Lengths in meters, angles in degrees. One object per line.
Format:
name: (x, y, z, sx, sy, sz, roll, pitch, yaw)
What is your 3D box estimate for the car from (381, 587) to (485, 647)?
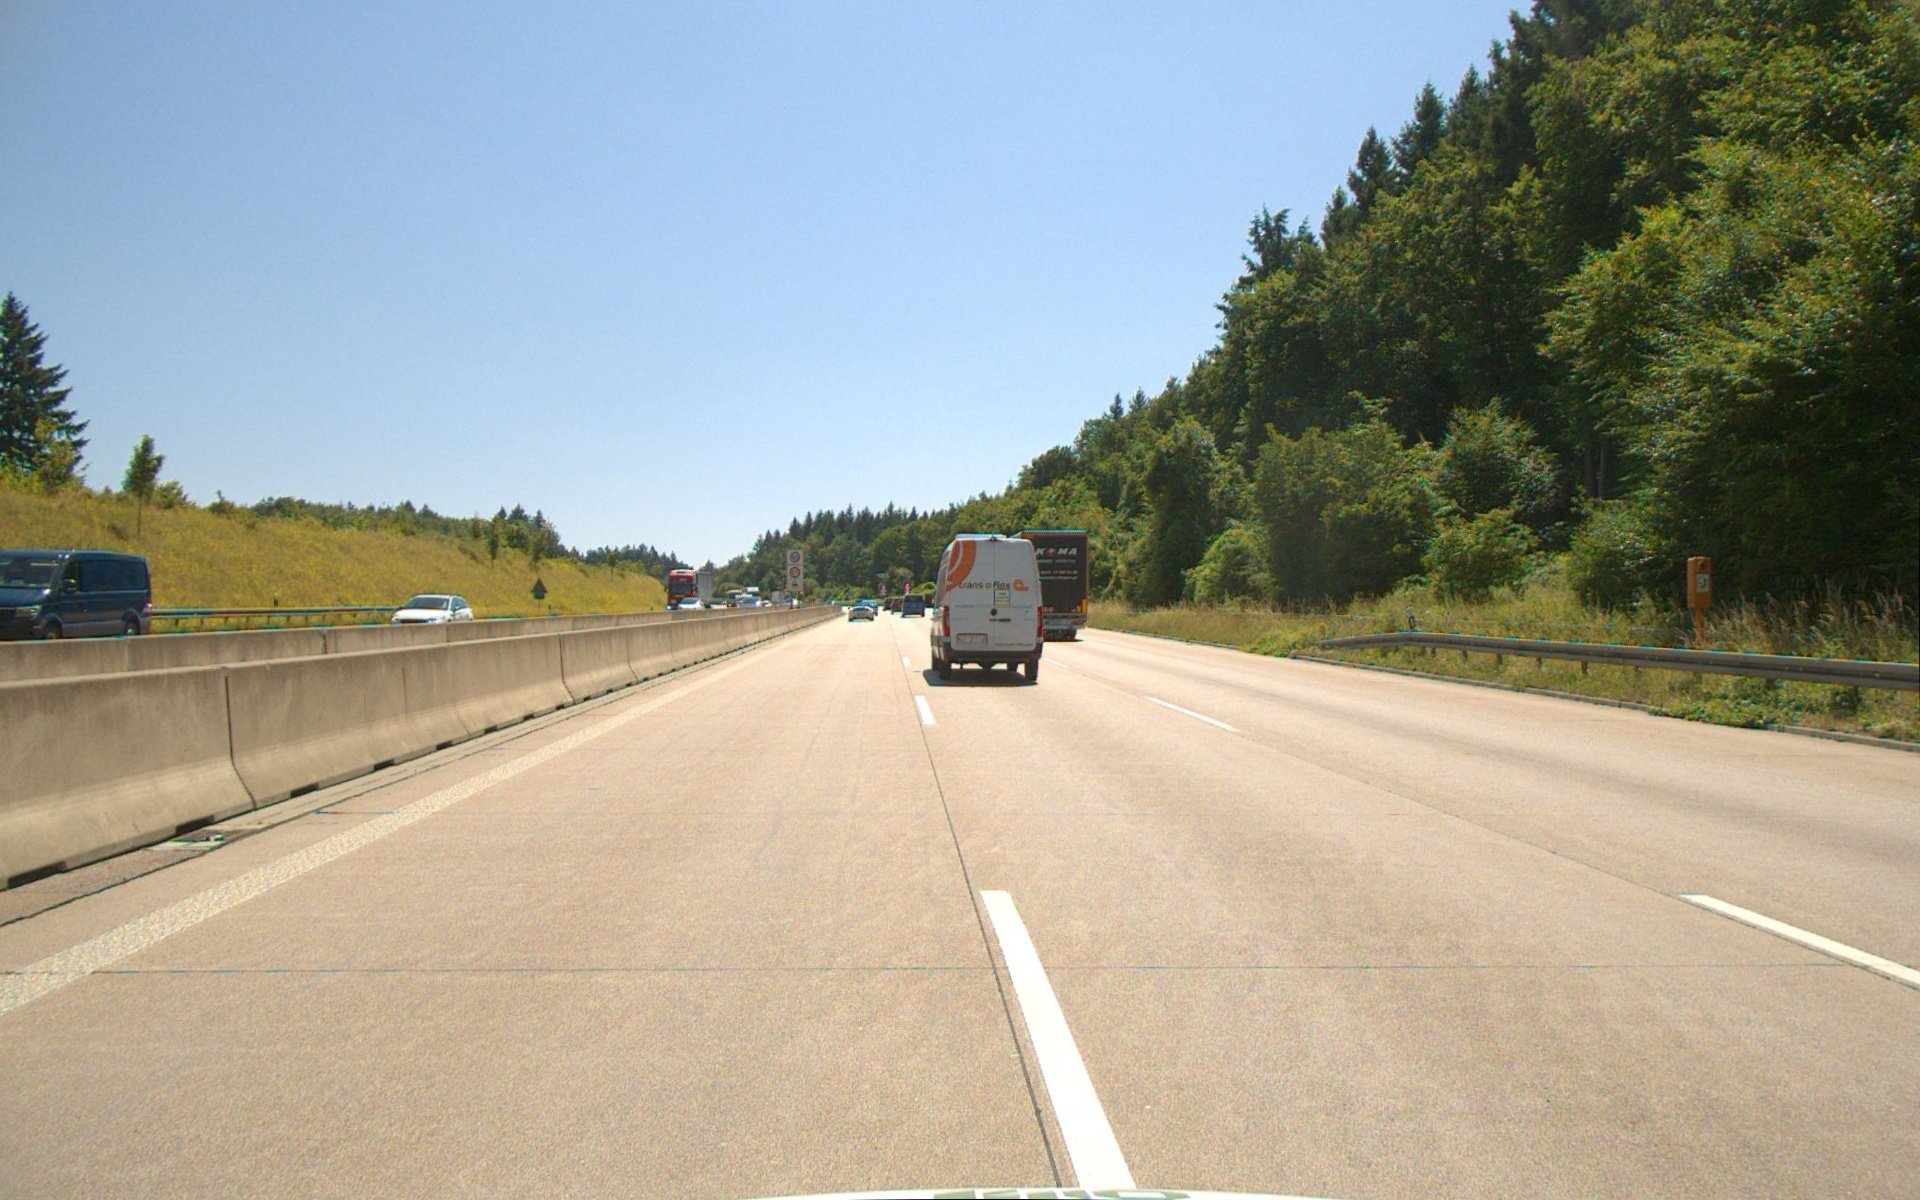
car: (-16.953, 0.521, 53.484, 1.968, 1.839, 4.851, 1, 0, -3)

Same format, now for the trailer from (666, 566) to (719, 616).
trailer: (-25.279, -0.764, 156.873, 3.319, 4.509, 13.916, 1, -1, -3)

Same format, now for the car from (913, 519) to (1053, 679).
car: (0.360, -0.043, 33.130, 2.183, 2.894, 5.448, -1, 0, -5)

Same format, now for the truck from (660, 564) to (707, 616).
truck: (-24.933, -0.847, 149.332, 3.319, 4.509, 6.796, 1, -1, -3)

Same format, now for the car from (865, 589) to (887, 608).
car: (-7.829, -0.097, 154.064, 1.955, 1.713, 3.996, 1, -1, -5)

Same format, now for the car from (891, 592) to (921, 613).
car: (-4.517, 0.205, 137.941, 1.958, 1.713, 3.989, 1, -1, -11)

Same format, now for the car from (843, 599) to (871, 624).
car: (-7.409, 0.825, 119.095, 1.954, 1.713, 3.997, 1, -1, -3)

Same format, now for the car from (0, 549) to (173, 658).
car: (-20.455, 0.061, 37.416, 2.431, 2.248, 6.455, 1, 0, -3)

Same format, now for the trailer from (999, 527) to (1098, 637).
trailer: (3.421, -0.669, 66.773, 3.072, 4.087, 9.083, -1, 0, -2)

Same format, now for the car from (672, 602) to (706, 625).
car: (-19.748, 0.988, 120.684, 1.954, 1.591, 3.998, 1, 0, -3)
